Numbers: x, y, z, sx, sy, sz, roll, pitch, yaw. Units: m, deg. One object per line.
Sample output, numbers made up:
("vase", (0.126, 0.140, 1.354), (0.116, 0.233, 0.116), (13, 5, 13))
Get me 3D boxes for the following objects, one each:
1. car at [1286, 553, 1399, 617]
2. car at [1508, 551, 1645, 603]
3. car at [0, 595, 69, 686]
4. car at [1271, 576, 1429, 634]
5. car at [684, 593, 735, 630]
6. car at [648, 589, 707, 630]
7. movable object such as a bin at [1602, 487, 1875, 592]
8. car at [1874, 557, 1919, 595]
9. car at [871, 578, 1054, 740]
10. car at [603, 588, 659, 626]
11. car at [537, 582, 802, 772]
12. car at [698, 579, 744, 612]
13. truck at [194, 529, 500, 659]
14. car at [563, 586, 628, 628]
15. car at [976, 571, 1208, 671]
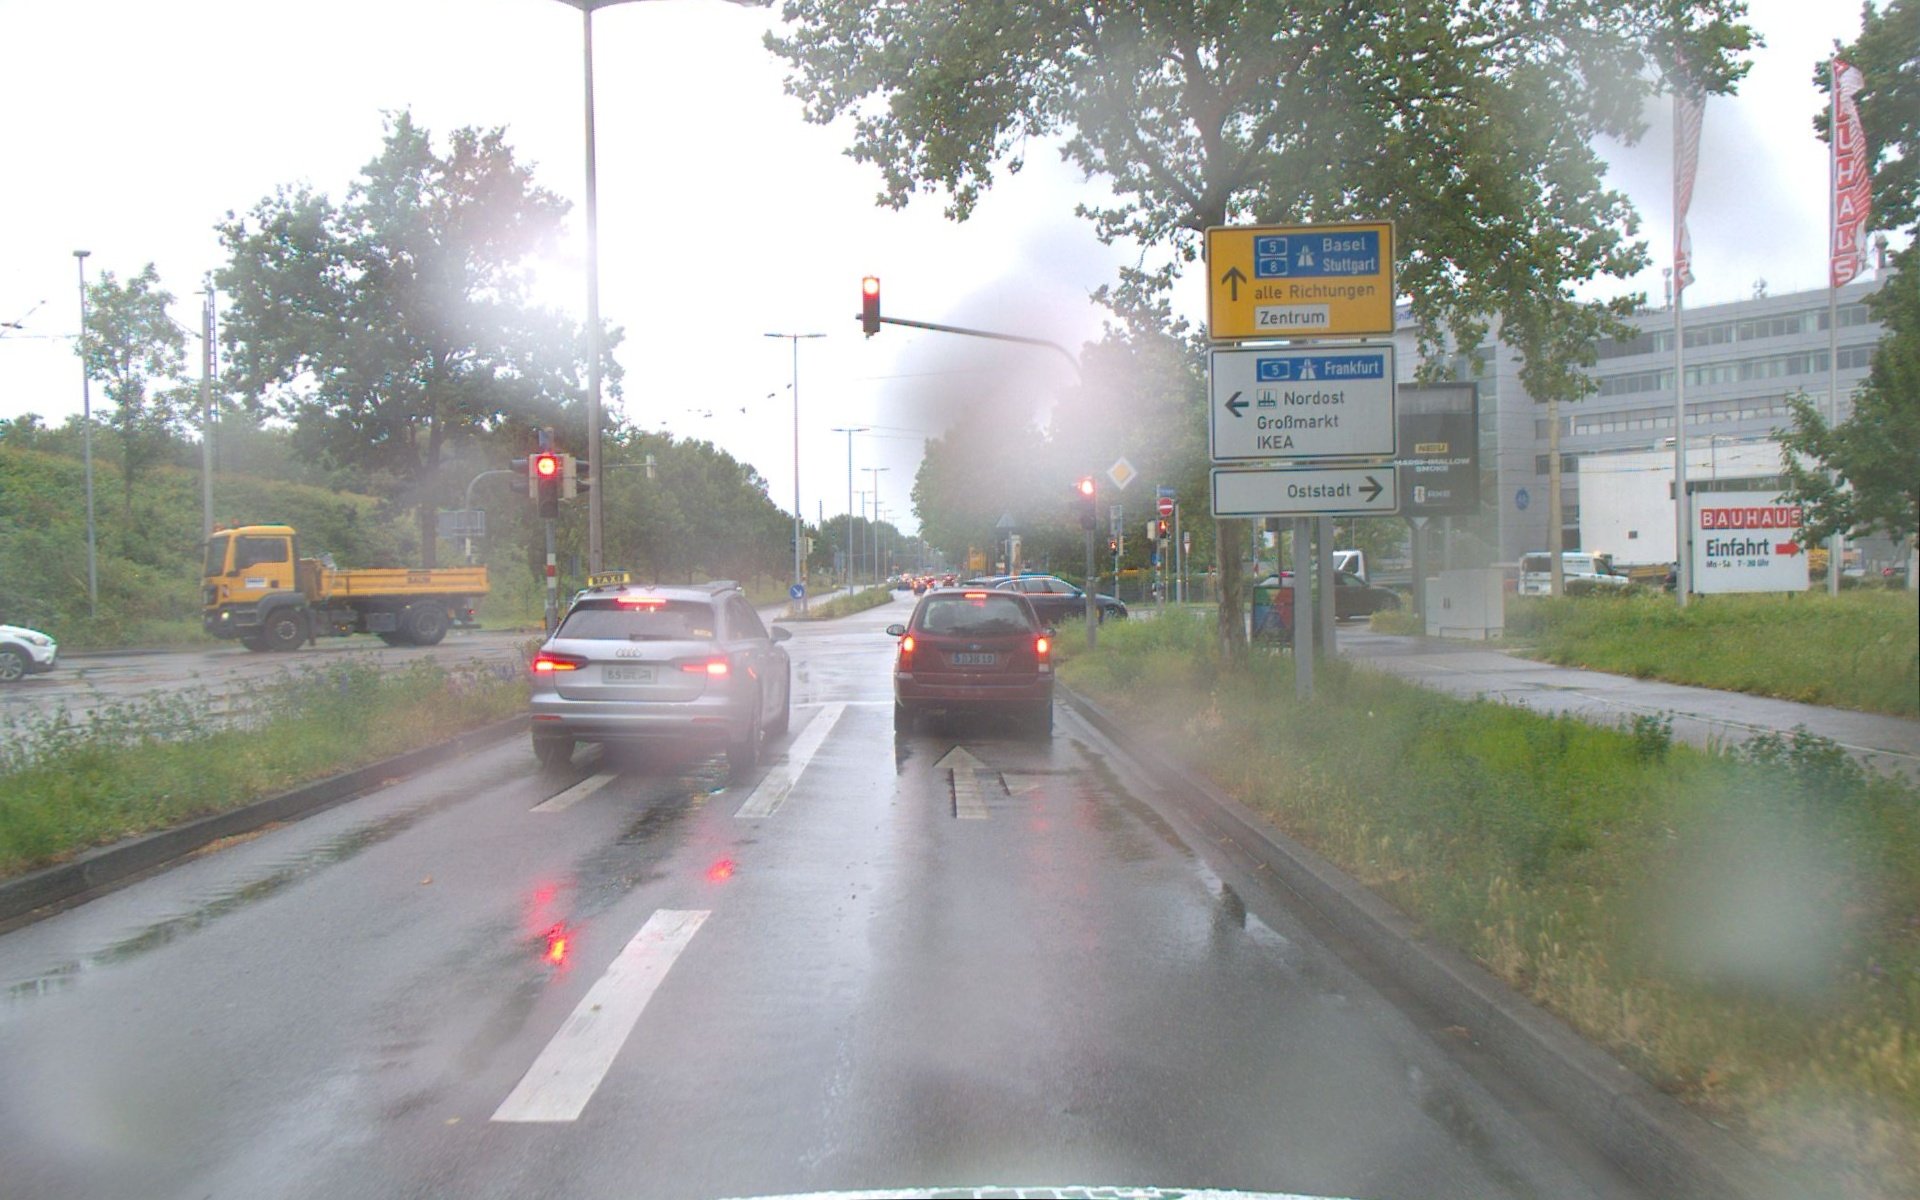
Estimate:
("car", (14.793, -0.594, 63.929), (4.339, 2.228, 1.779), (-4, 2, -36))
("car", (19.753, -0.749, 52.931), (4.327, 1.564, 1.784), (-1, 0, -30))
("car", (-17.933, 0.735, 28.892), (4.015, 1.547, 1.976), (-1, 0, -34))
("car", (10.988, 0.121, 46.577), (4.327, 1.564, 1.784), (-1, 0, -30))
("car", (-11.019, 0.474, 73.005), (1.678, 1.556, 3.999), (-1, 1, -1))
("car", (-11.265, 0.367, 66.174), (1.678, 1.556, 3.999), (-1, 1, -1))
("movable object such as a bin", (52.311, -3.822, 111.813), (8.168, 6.393, 14.792), (1, 0, -34))
("car", (40.372, -1.023, 69.531), (4.340, 1.564, 1.779), (-1, 0, -37))
("car", (-0.006, 0.566, 18.342), (1.760, 1.564, 4.386), (1, 0, -1))
("car", (-14.182, 0.280, 71.449), (1.678, 1.556, 3.999), (-1, 1, -1))
("car", (-2.448, 0.578, 14.993), (1.656, 1.458, 4.573), (0, 0, -1))
("car", (-11.645, -0.238, 80.781), (1.678, 1.556, 3.999), (-1, 1, -1))
("truck", (-15.741, -0.208, 42.758), (6.977, 3.107, 2.611), (-1, 0, -38))
("car", (-14.256, 0.254, 64.909), (1.678, 1.556, 3.999), (-1, 1, -1))
("car", (2.515, 0.330, 30.891), (4.349, 1.563, 1.775), (-4, 3, -41))
